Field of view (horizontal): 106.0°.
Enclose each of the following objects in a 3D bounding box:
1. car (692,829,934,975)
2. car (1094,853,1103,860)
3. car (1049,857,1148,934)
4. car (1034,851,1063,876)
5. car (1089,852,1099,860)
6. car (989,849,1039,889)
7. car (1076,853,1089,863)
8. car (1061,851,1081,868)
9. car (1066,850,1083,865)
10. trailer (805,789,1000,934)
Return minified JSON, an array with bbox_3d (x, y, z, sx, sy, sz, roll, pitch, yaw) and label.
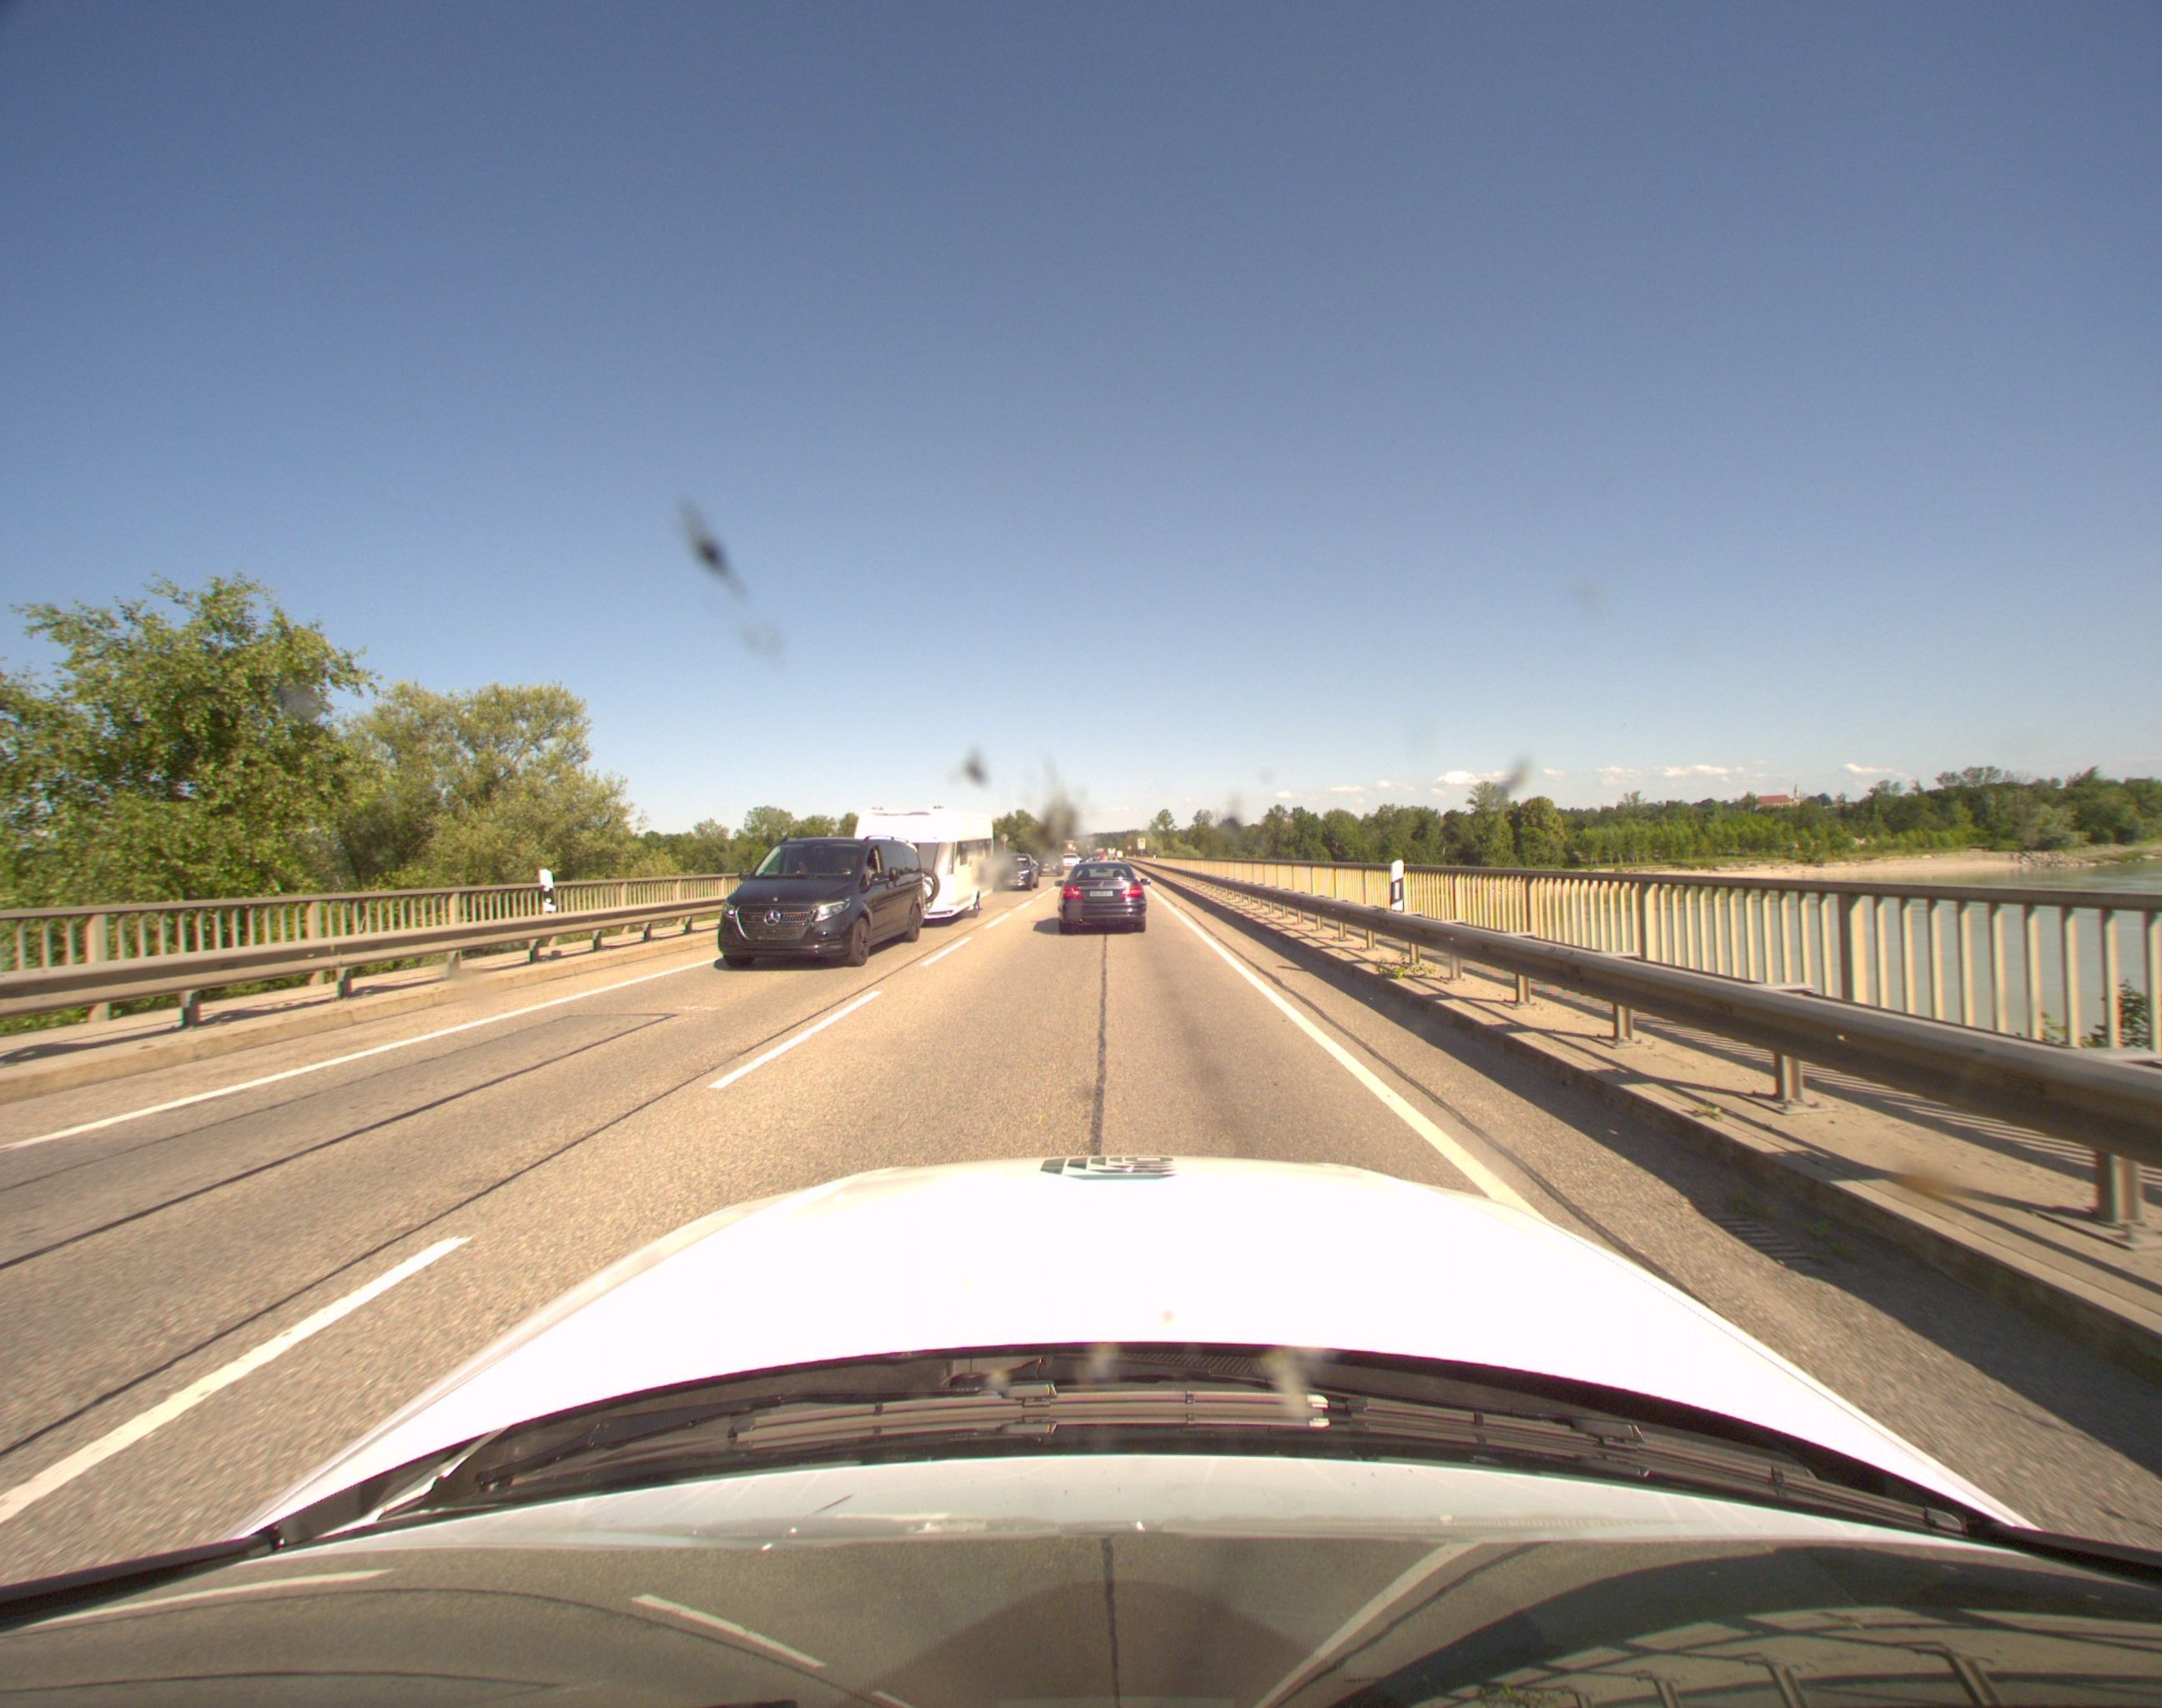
[{"bbox_3d":[-3.923,0.630,13.054,1.975,1.854,5.011,-1,0,3],"label":"car"},{"bbox_3d":[4.031,0.480,189.208,1.801,1.577,4.198,-1,0,-1],"label":"car"},{"bbox_3d":[0.400,0.776,16.925,1.786,1.376,4.002,-1,0,2],"label":"car"},{"bbox_3d":[-2.306,0.649,58.699,1.943,1.693,4.475,0,0,-1],"label":"car"},{"bbox_3d":[2.718,0.404,174.467,2.048,1.652,4.719,1,0,-1],"label":"car"},{"bbox_3d":[-2.922,0.626,36.381,1.796,1.661,4.433,1,0,0],"label":"car"},{"bbox_3d":[0.187,0.544,120.276,1.760,1.447,4.454,-1,0,-1],"label":"car"},{"bbox_3d":[-1.079,0.560,86.348,1.977,1.651,4.596,1,0,-1],"label":"car"},{"bbox_3d":[-0.799,0.434,102.653,2.031,1.873,5.067,1,0,-1],"label":"car"},{"bbox_3d":[-3.822,0.147,19.597,2.545,2.737,8.067,-1,0,2],"label":"trailer"}]
